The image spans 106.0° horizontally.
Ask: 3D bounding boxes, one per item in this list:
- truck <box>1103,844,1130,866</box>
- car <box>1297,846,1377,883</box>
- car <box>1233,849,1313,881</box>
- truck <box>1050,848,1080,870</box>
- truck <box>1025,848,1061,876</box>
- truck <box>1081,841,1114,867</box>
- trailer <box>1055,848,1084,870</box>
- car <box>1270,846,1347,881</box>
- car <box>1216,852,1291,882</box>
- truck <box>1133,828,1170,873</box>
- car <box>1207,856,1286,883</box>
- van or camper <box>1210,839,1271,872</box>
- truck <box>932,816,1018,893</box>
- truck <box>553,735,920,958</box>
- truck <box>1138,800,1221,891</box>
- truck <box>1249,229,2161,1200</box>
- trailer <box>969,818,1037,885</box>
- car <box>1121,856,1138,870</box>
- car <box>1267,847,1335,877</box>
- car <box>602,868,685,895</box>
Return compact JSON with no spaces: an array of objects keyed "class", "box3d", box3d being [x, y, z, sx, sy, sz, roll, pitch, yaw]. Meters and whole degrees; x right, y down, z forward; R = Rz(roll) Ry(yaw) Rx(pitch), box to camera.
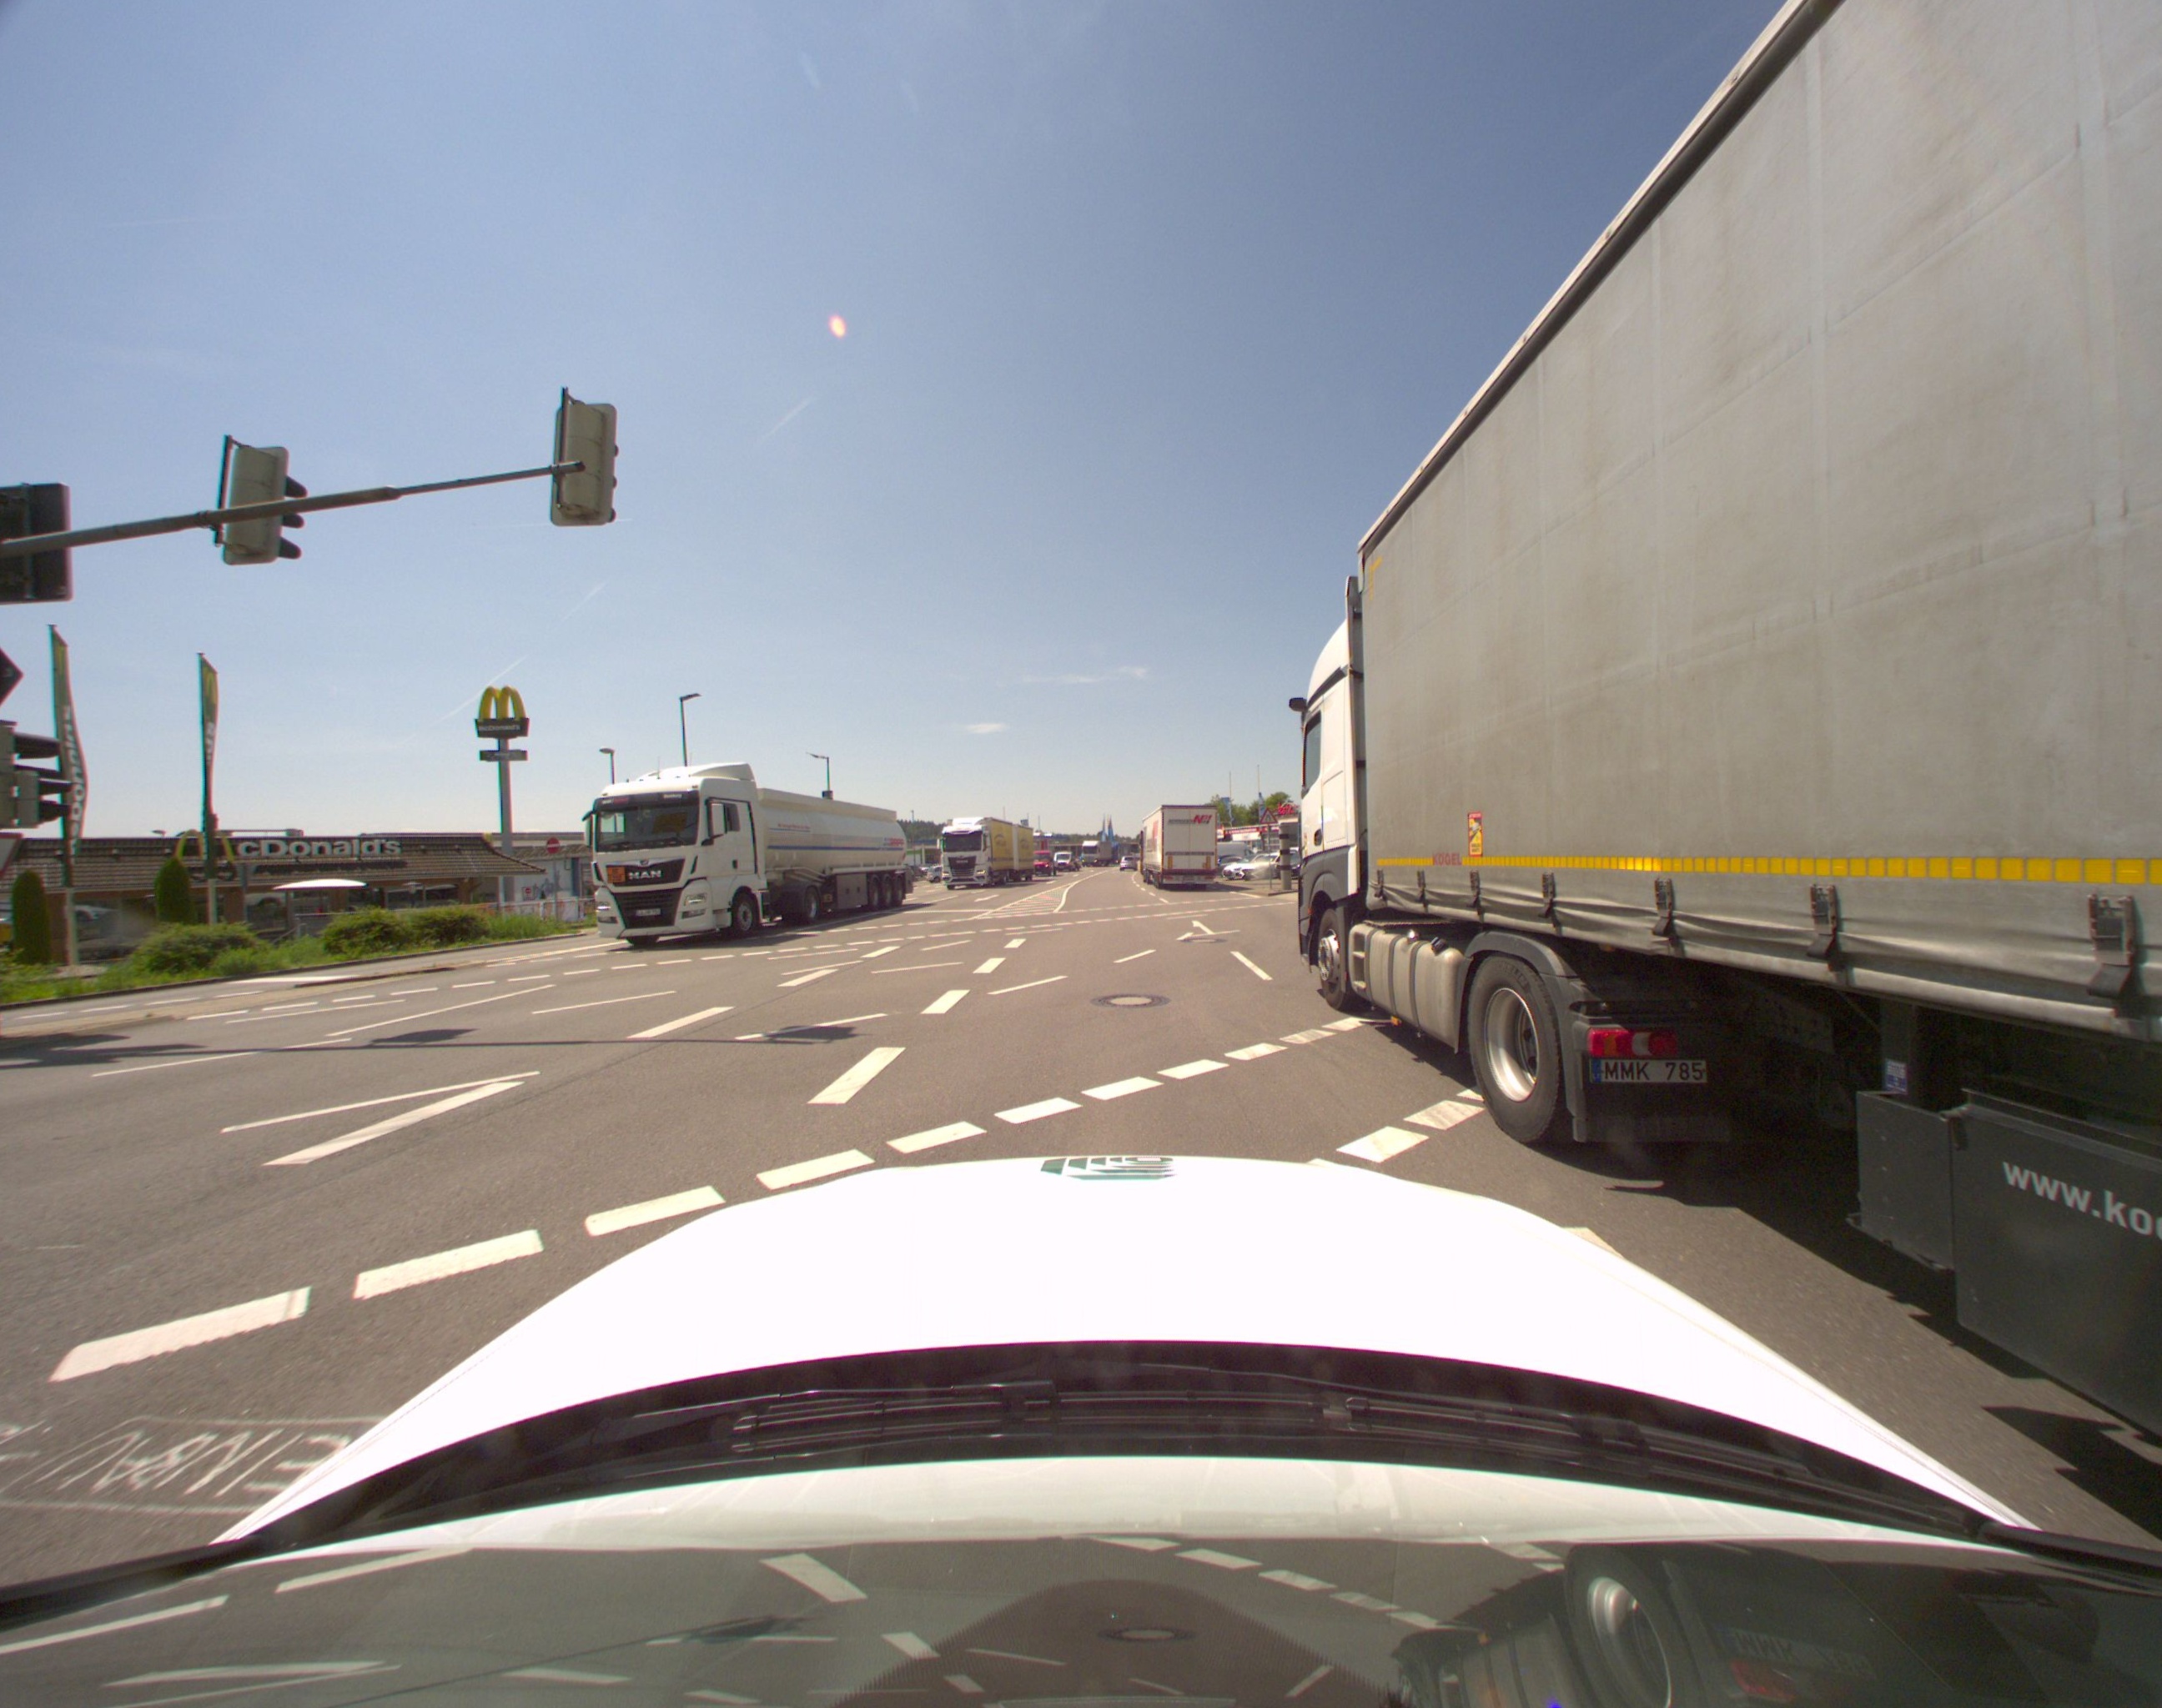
[{"class":"truck","box3d":[6.758,0.337,152.402,2.826,3.889,17.052,0,-1,10]},{"class":"car","box3d":[13.987,0.574,44.438,4.202,1.691,1.864,-4,0,-34]},{"class":"car","box3d":[11.558,0.662,48.902,4.761,1.553,1.978,-4,1,-36]},{"class":"truck","box3d":[-1.759,0.564,91.968,2.412,2.340,5.685,-3,-1,7]},{"class":"truck","box3d":[-3.410,0.725,74.820,2.384,2.445,6.882,0,-1,6]},{"class":"truck","box3d":[2.857,0.076,131.089,2.773,3.889,16.528,0,-1,10]},{"class":"trailer","box3d":[-1.260,0.574,96.083,2.415,2.338,6.909,-3,-1,7]},{"class":"car","box3d":[13.045,0.533,46.626,4.192,1.691,1.864,-4,0,-34]},{"class":"car","box3d":[10.901,0.797,51.386,4.489,1.409,1.730,-6,1,-29]},{"class":"truck","box3d":[6.433,-0.291,76.095,2.638,3.806,13.363,0,0,2]},{"class":"car","box3d":[10.936,1.055,54.118,1.938,1.387,4.875,-2,-3,-41]},{"class":"van or camper","box3d":[14.893,0.163,76.294,5.342,2.905,2.236,-1,-1,5]},{"class":"truck","box3d":[-6.147,0.052,49.386,3.015,4.105,10.366,-2,0,4]},{"class":"truck","box3d":[-7.930,-0.117,22.701,2.593,4.018,15.147,-3,0,4]},{"class":"truck","box3d":[5.083,-0.330,45.790,2.962,4.094,17.639,0,0,1]},{"class":"truck","box3d":[3.509,-0.585,6.652,2.962,4.010,6.329,-3,-1,2]},{"class":"trailer","box3d":[-5.410,-0.148,58.713,2.997,4.287,10.071,-2,0,5]},{"class":"car","box3d":[5.597,1.056,94.107,1.915,1.610,4.098,-1,-1,4]},{"class":"car","box3d":[15.346,0.575,56.964,1.864,1.714,4.098,-2,-3,-41]},{"class":"car","box3d":[-26.684,1.655,49.786,1.974,1.464,4.026,-2,-1,35]}]
